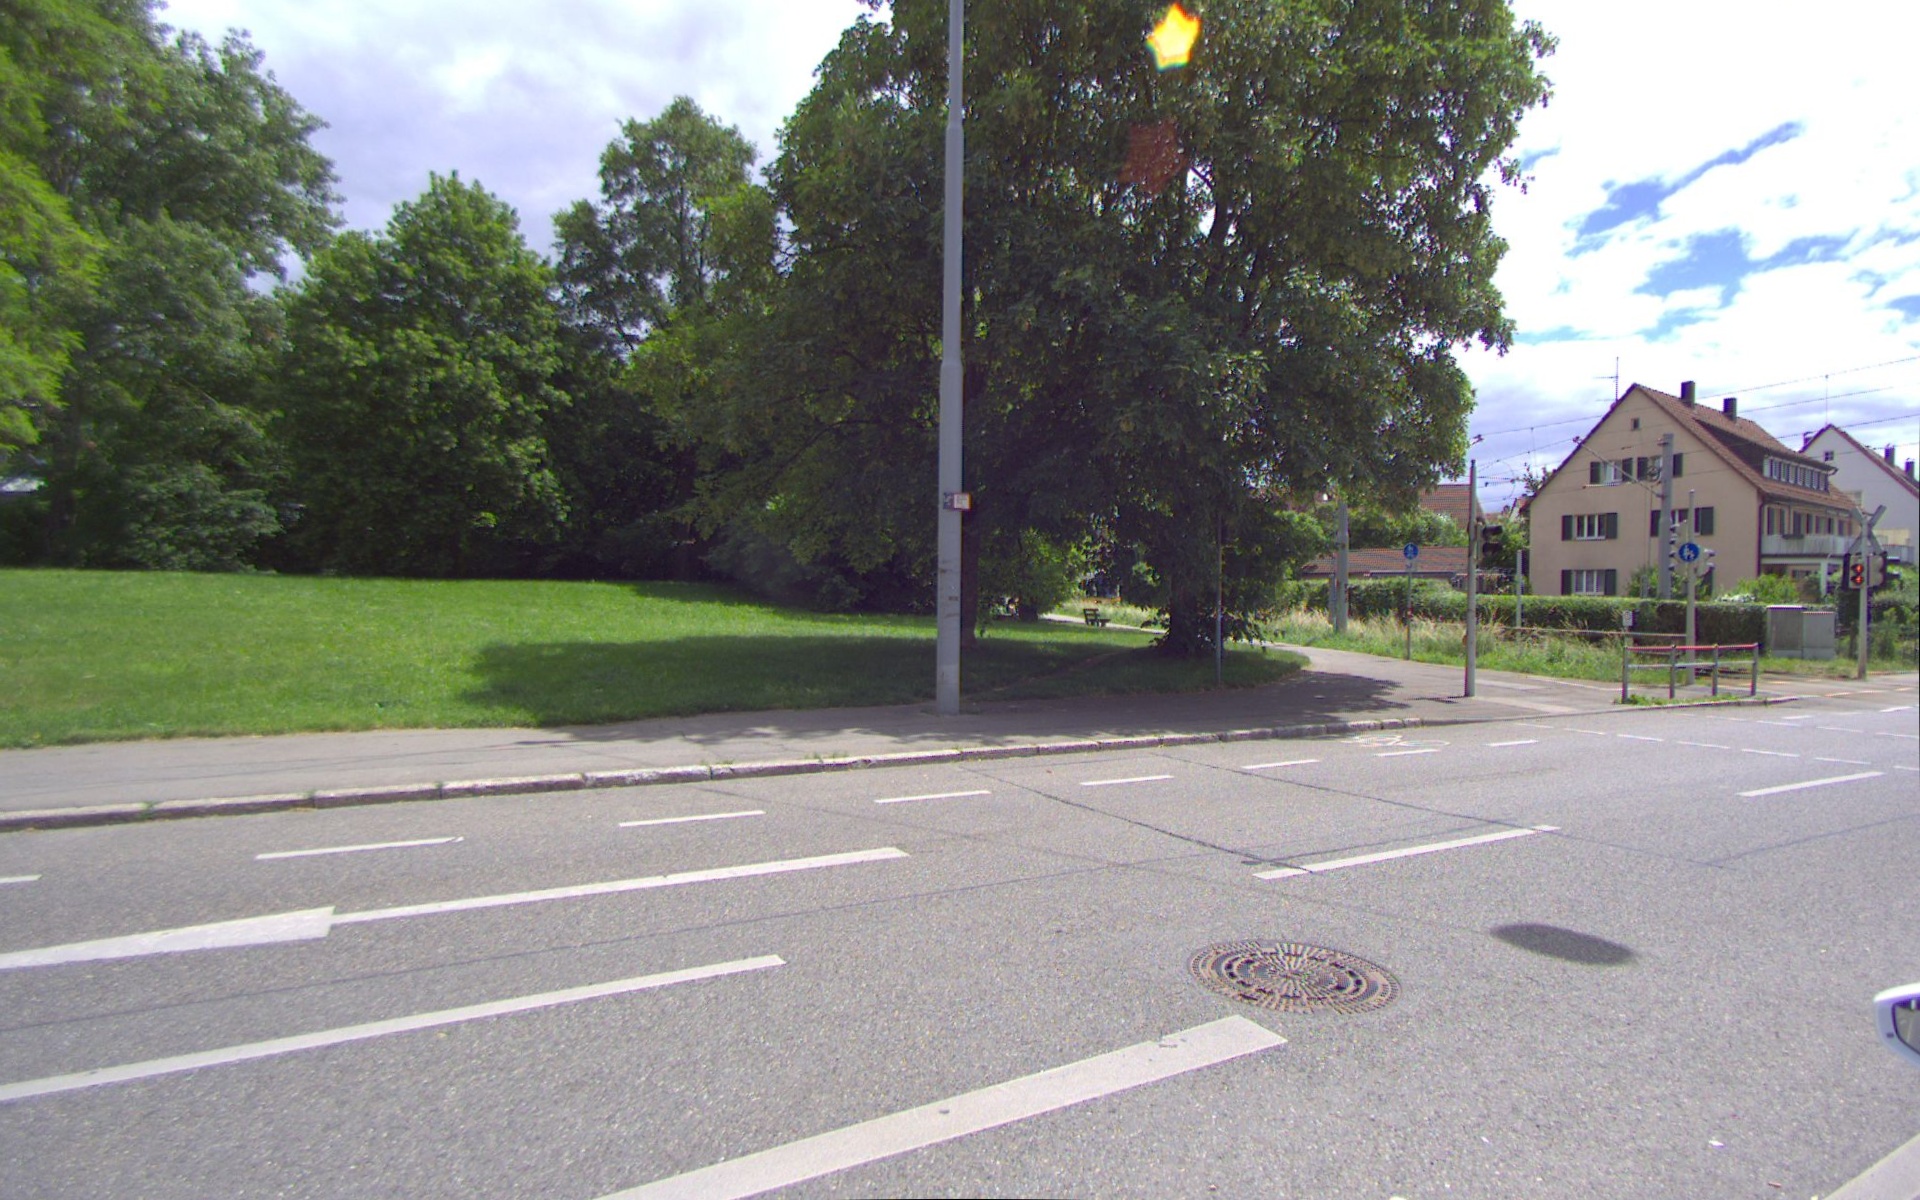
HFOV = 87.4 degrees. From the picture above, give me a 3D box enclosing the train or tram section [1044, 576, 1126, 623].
[{"bbox_3d":[10.728,-0.138,89.399,2.864,3.754,19.098,1,1,-6],"label":"train or tram section"}]
